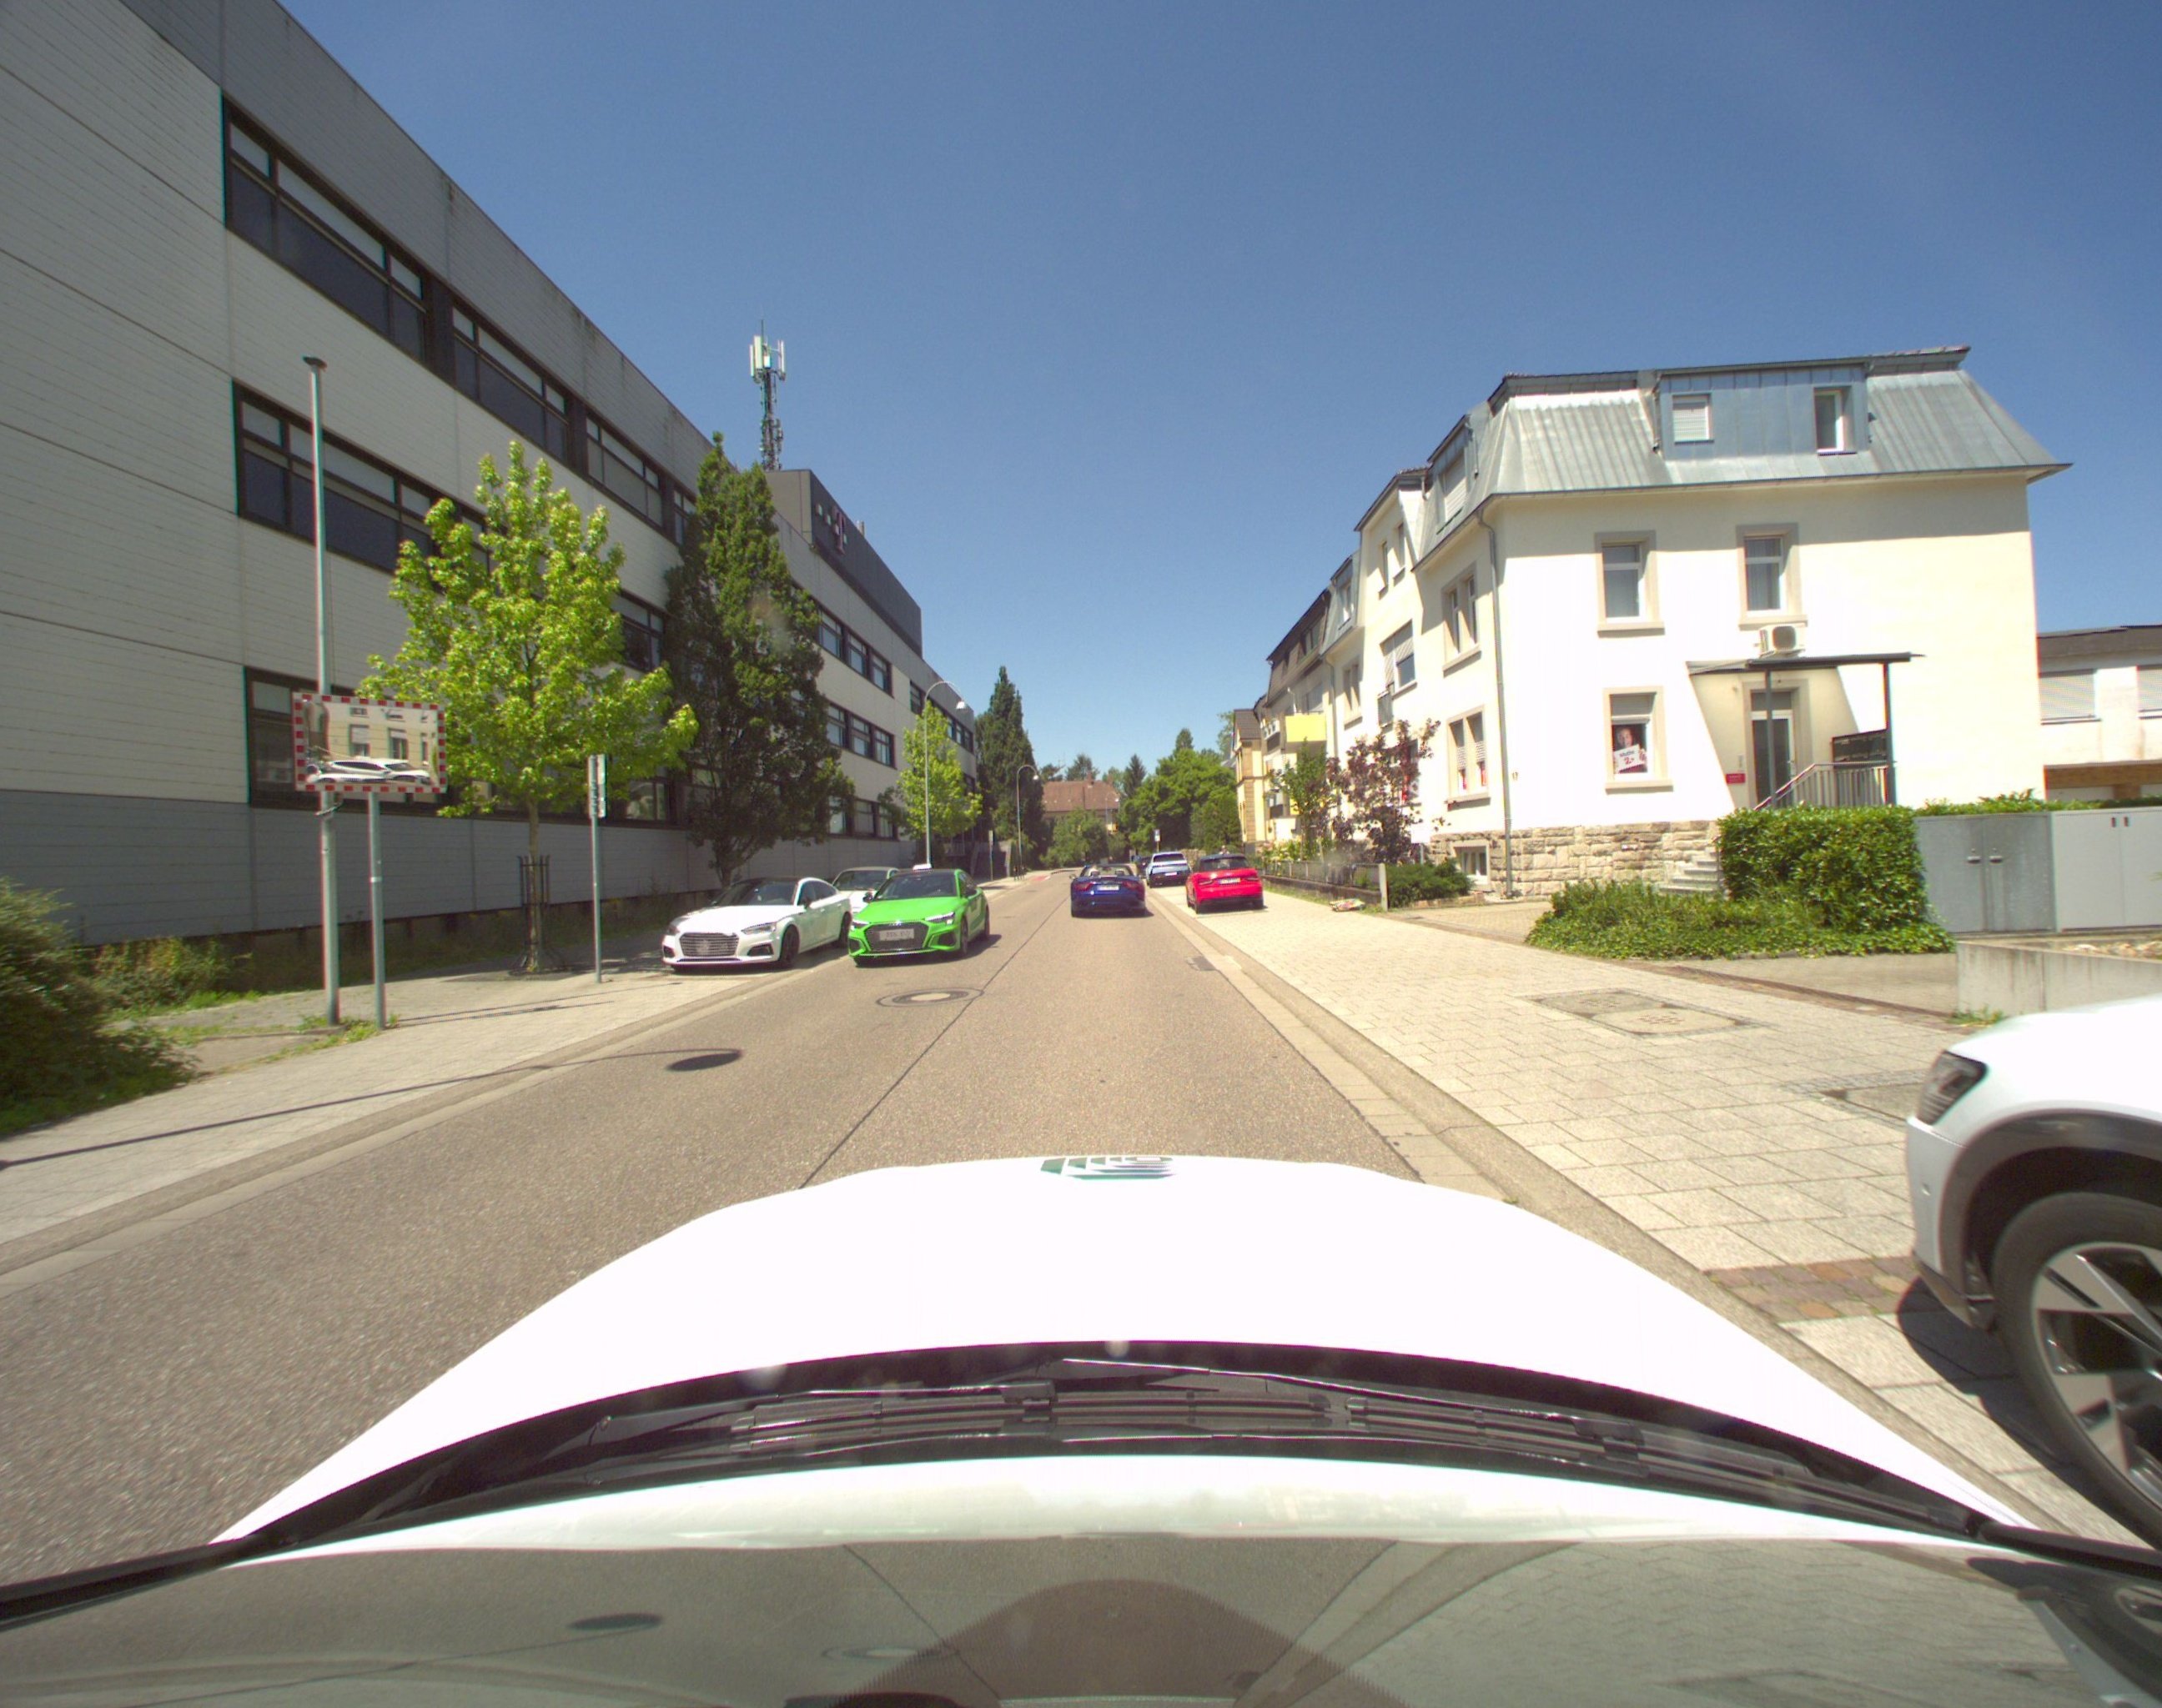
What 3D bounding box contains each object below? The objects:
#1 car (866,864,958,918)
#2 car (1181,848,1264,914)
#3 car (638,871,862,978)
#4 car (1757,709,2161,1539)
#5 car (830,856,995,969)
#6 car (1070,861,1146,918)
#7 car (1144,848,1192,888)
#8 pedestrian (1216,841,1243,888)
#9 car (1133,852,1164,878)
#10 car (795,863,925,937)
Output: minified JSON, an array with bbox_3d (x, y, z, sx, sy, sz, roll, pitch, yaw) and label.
[{"bbox_3d":[-5.030,1.066,24.711,1.741,1.409,3.936,-2,0,3],"label":"car"},{"bbox_3d":[3.655,0.656,21.553,1.597,1.440,3.856,-5,0,3],"label":"car"},{"bbox_3d":[-5.398,1.072,14.056,1.815,1.411,4.579,-2,0,2],"label":"car"},{"bbox_3d":[2.899,0.474,0.170,1.698,1.666,4.582,-6,0,2],"label":"car"},{"bbox_3d":[-2.739,0.879,14.238,1.815,1.588,4.102,-3,0,2],"label":"car"},{"bbox_3d":[0.720,0.884,22.117,1.820,1.337,4.702,-1,0,2],"label":"car"},{"bbox_3d":[4.043,0.621,38.487,1.836,1.619,4.430,-4,0,2],"label":"car"},{"bbox_3d":[5.513,0.400,30.307,0.738,1.669,0.706,-5,0,0],"label":"pedestrian"},{"bbox_3d":[4.353,0.677,53.108,1.626,1.446,4.399,-5,0,2],"label":"car"},{"bbox_3d":[-5.210,1.014,19.851,1.815,1.512,4.291,-2,0,2],"label":"car"}]
